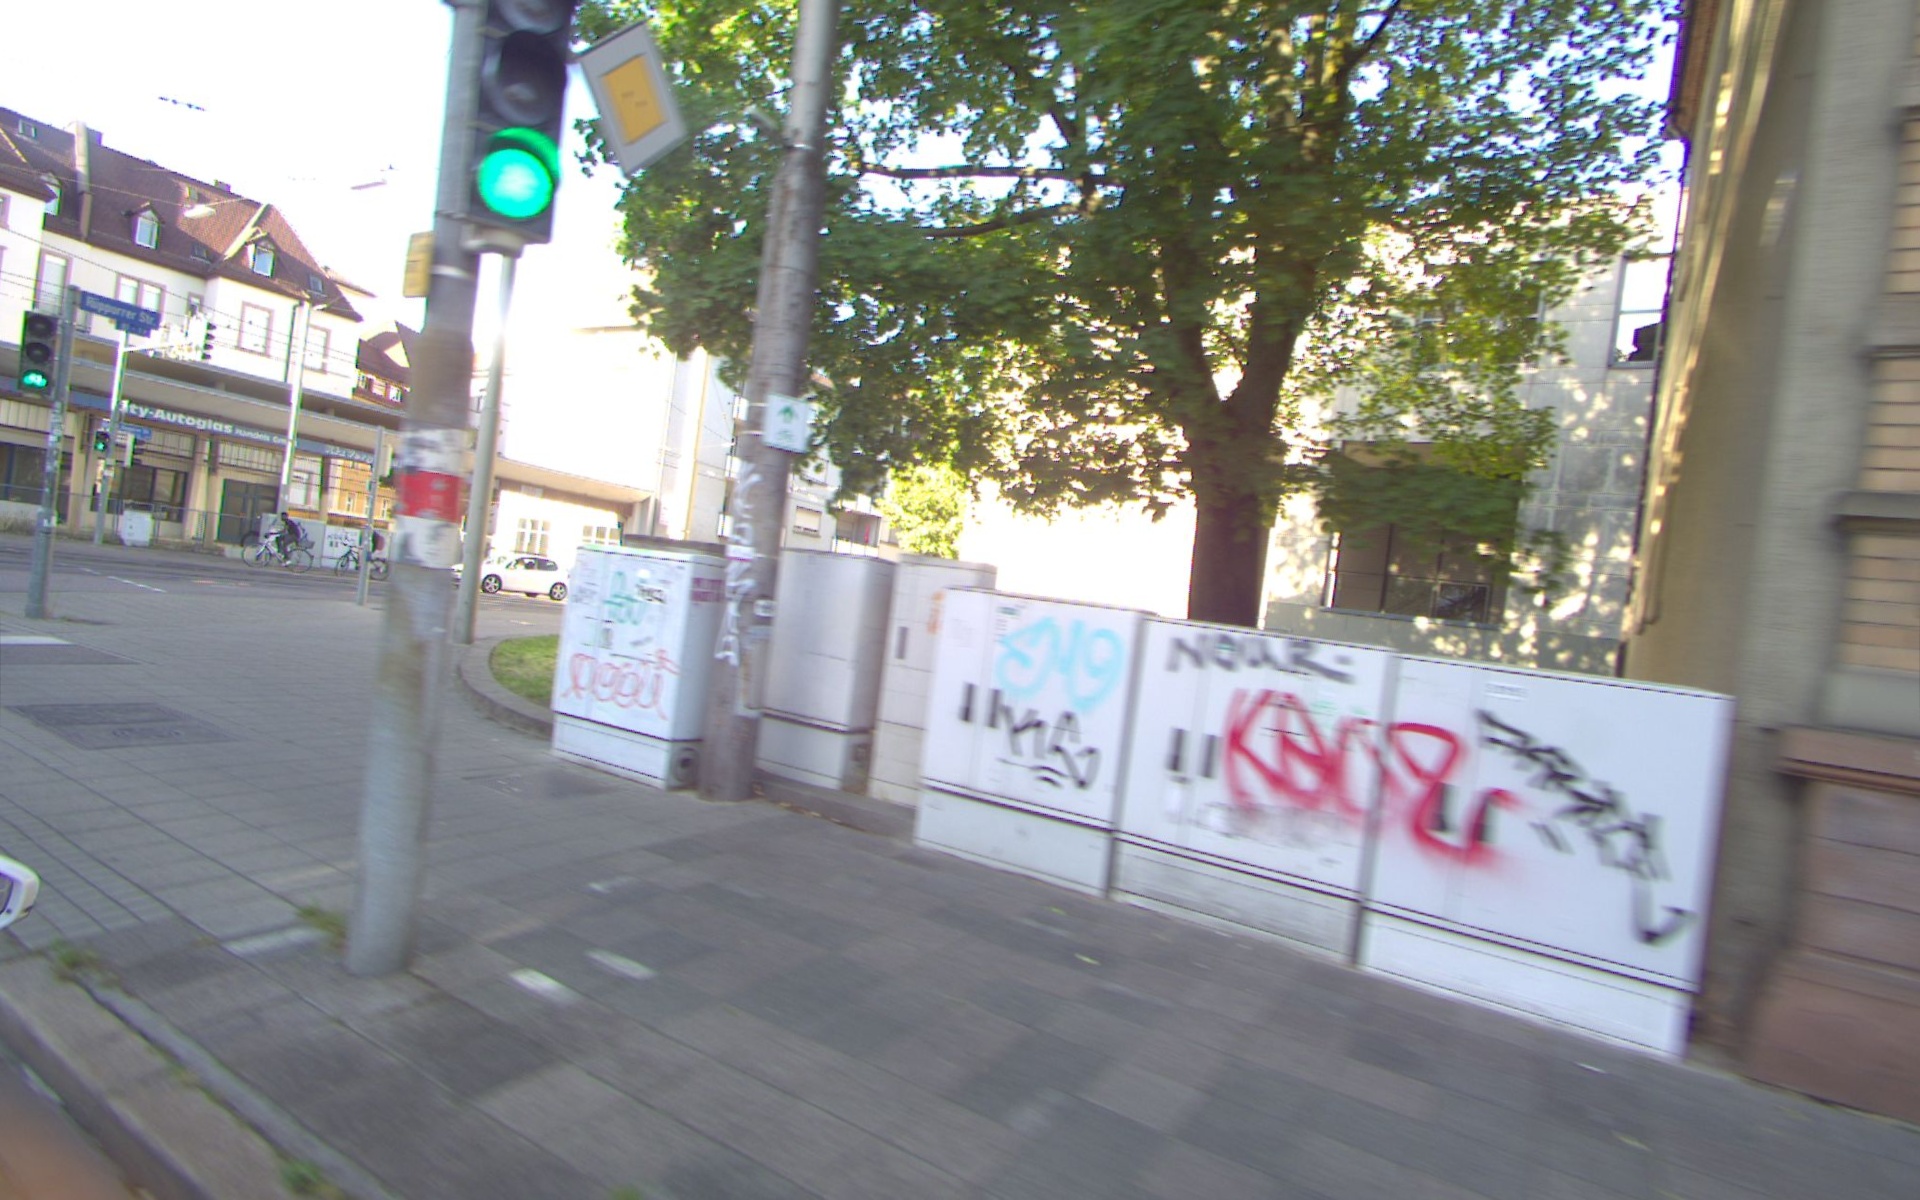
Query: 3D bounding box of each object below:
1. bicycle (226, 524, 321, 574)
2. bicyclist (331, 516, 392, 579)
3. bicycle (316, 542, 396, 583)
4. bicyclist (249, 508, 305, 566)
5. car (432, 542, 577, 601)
[{"bbox_3d":[-20.155,-1.489,29.566,0.883,1.138,2.057,7,-1,40],"label":"bicycle"},{"bbox_3d":[-19.291,-1.680,32.454,0.895,1.808,1.252,7,0,27],"label":"bicyclist"},{"bbox_3d":[-19.392,-1.187,32.349,0.716,1.029,2.044,7,-1,32],"label":"bicycle"},{"bbox_3d":[-20.089,-1.846,29.578,0.867,1.545,1.046,7,0,41],"label":"bicyclist"},{"bbox_3d":[-15.599,-0.934,34.659,1.767,1.475,4.182,5,-2,32],"label":"car"}]
